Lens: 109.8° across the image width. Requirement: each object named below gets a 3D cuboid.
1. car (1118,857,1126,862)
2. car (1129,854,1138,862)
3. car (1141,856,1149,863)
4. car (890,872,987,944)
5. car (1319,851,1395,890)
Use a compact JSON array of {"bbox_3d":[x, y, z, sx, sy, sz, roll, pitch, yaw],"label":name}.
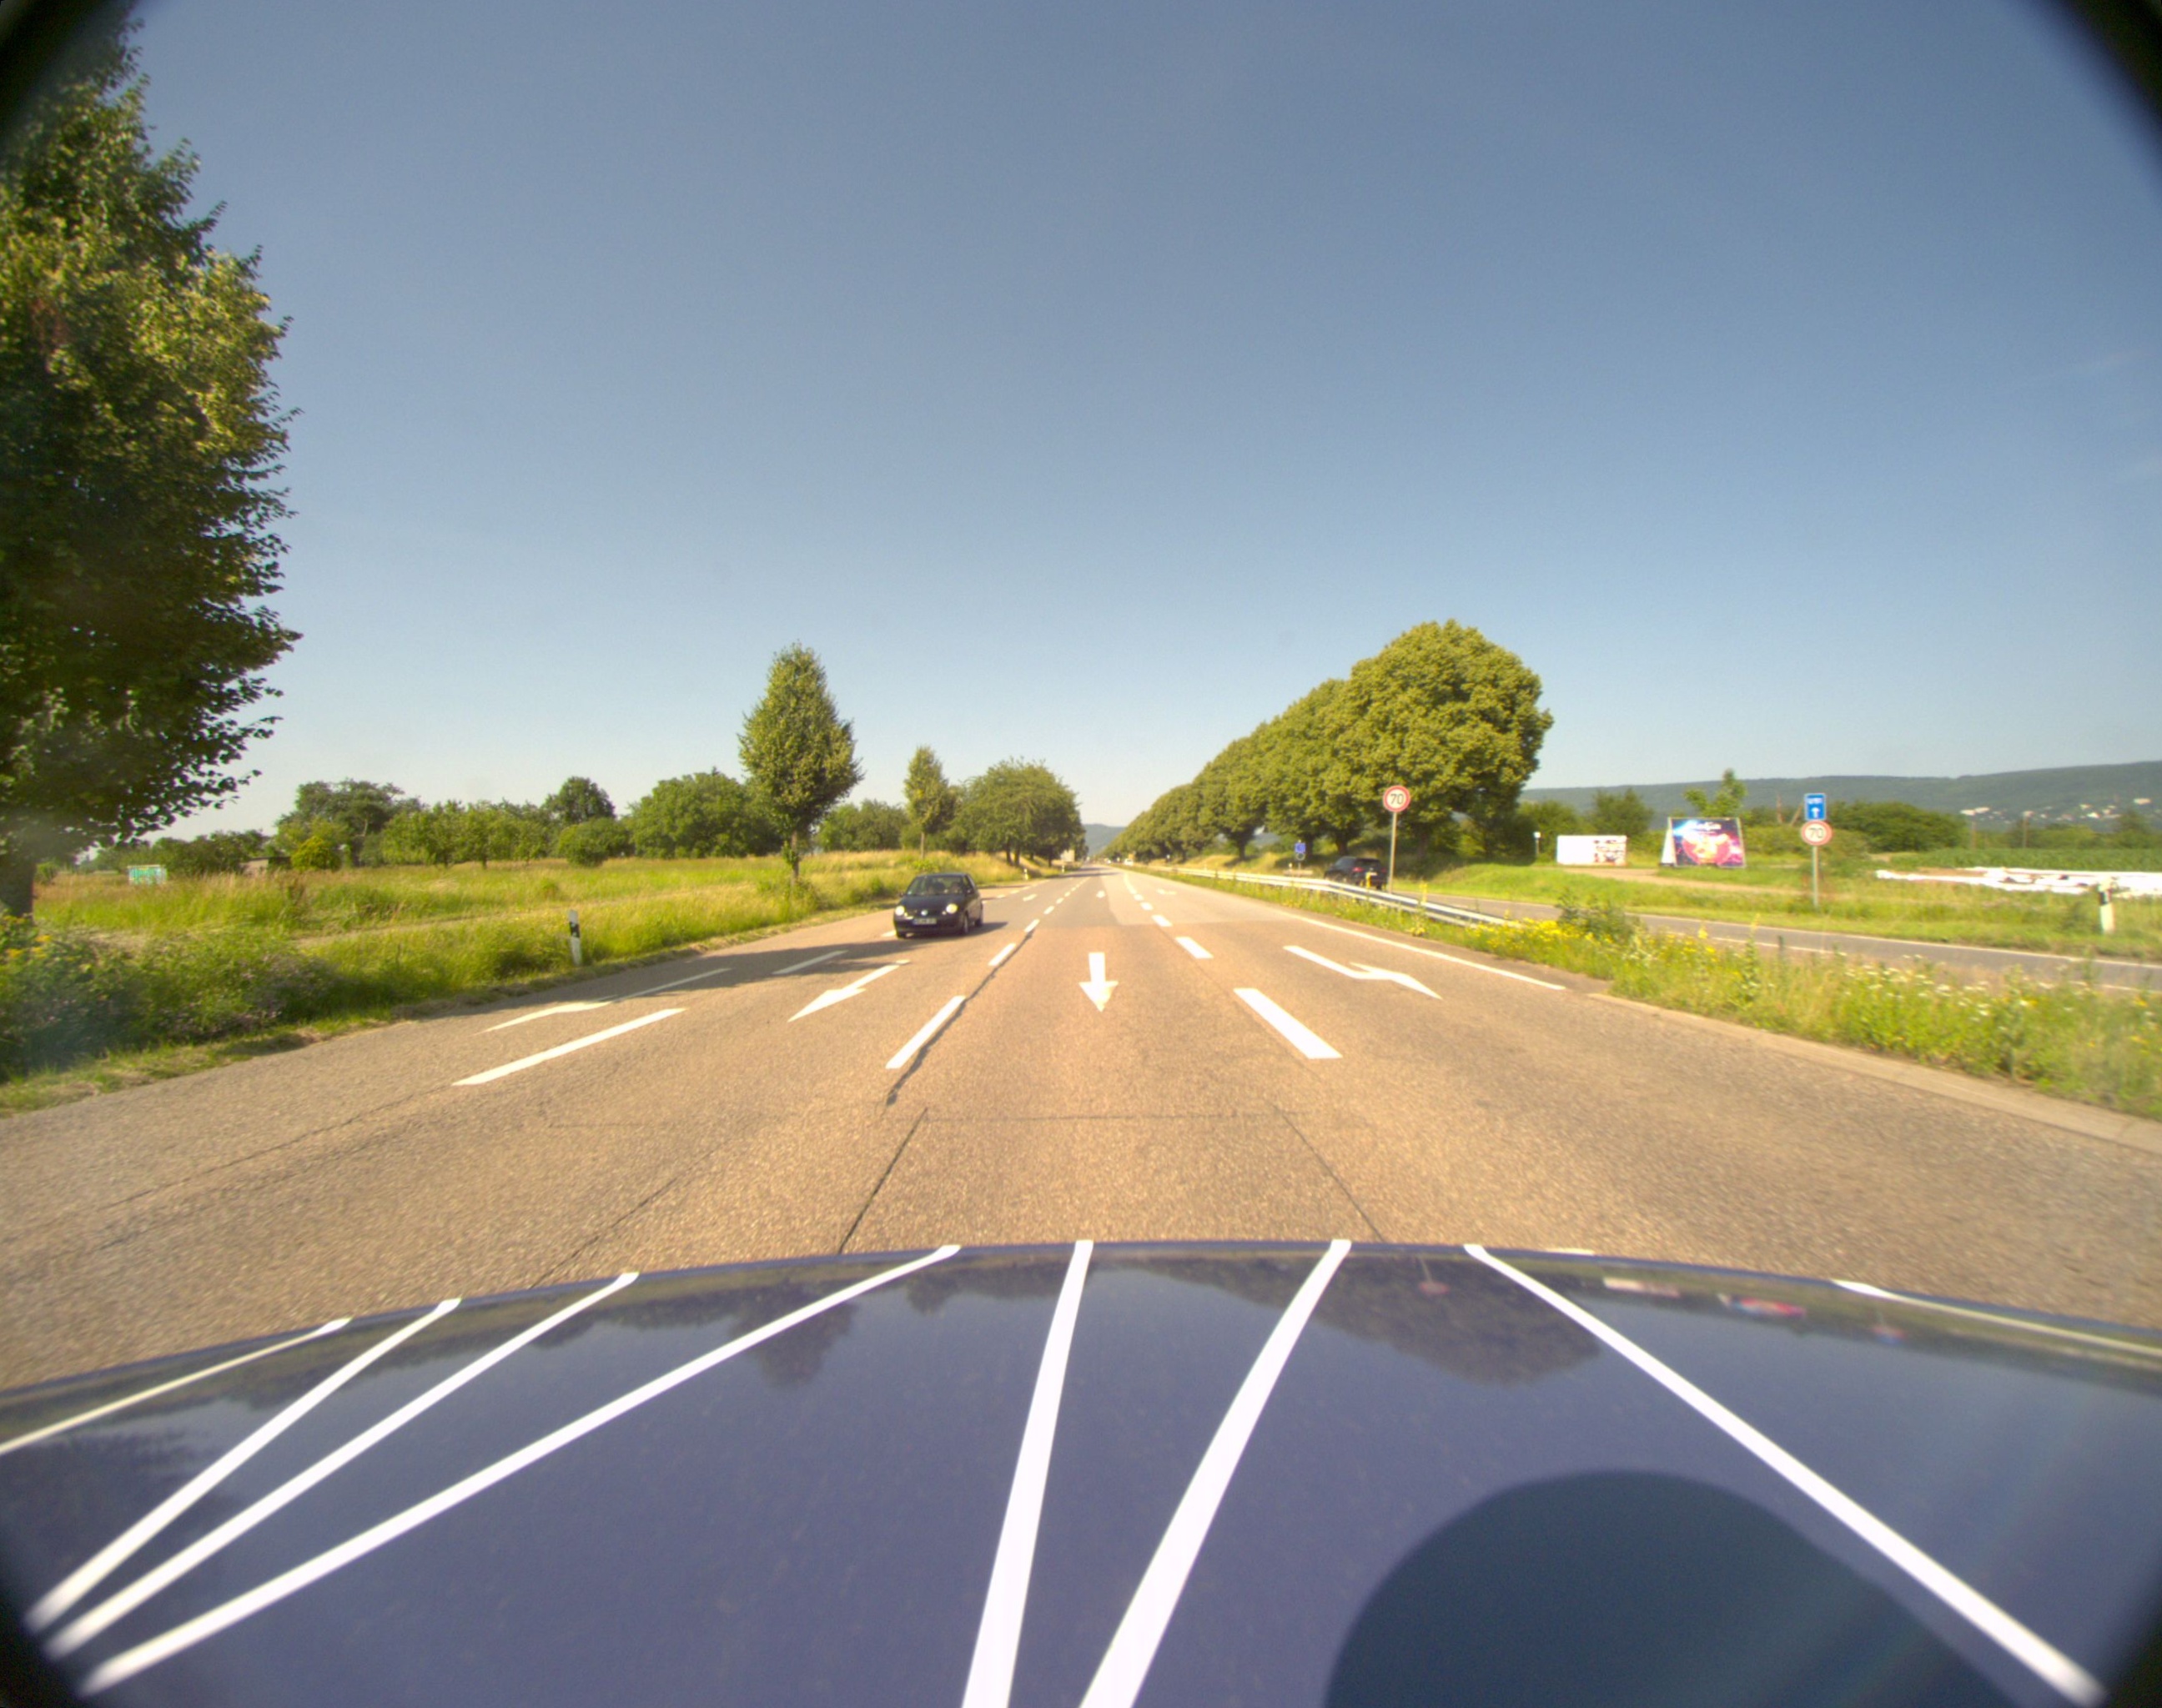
[{"bbox_3d":[12.552,1.614,232.722,1.933,1.521,4.000,1,0,-1],"label":"car"},{"bbox_3d":[12.278,0.995,177.722,1.998,1.791,4.000,-1,0,2],"label":"car"},{"bbox_3d":[15.196,1.283,179.894,1.726,1.456,3.700,1,0,1],"label":"car"},{"bbox_3d":[-3.305,1.219,18.240,1.629,1.425,3.622,-2,0,0],"label":"car"},{"bbox_3d":[14.125,0.818,39.282,1.999,1.829,4.953,2,0,-1],"label":"car"}]
